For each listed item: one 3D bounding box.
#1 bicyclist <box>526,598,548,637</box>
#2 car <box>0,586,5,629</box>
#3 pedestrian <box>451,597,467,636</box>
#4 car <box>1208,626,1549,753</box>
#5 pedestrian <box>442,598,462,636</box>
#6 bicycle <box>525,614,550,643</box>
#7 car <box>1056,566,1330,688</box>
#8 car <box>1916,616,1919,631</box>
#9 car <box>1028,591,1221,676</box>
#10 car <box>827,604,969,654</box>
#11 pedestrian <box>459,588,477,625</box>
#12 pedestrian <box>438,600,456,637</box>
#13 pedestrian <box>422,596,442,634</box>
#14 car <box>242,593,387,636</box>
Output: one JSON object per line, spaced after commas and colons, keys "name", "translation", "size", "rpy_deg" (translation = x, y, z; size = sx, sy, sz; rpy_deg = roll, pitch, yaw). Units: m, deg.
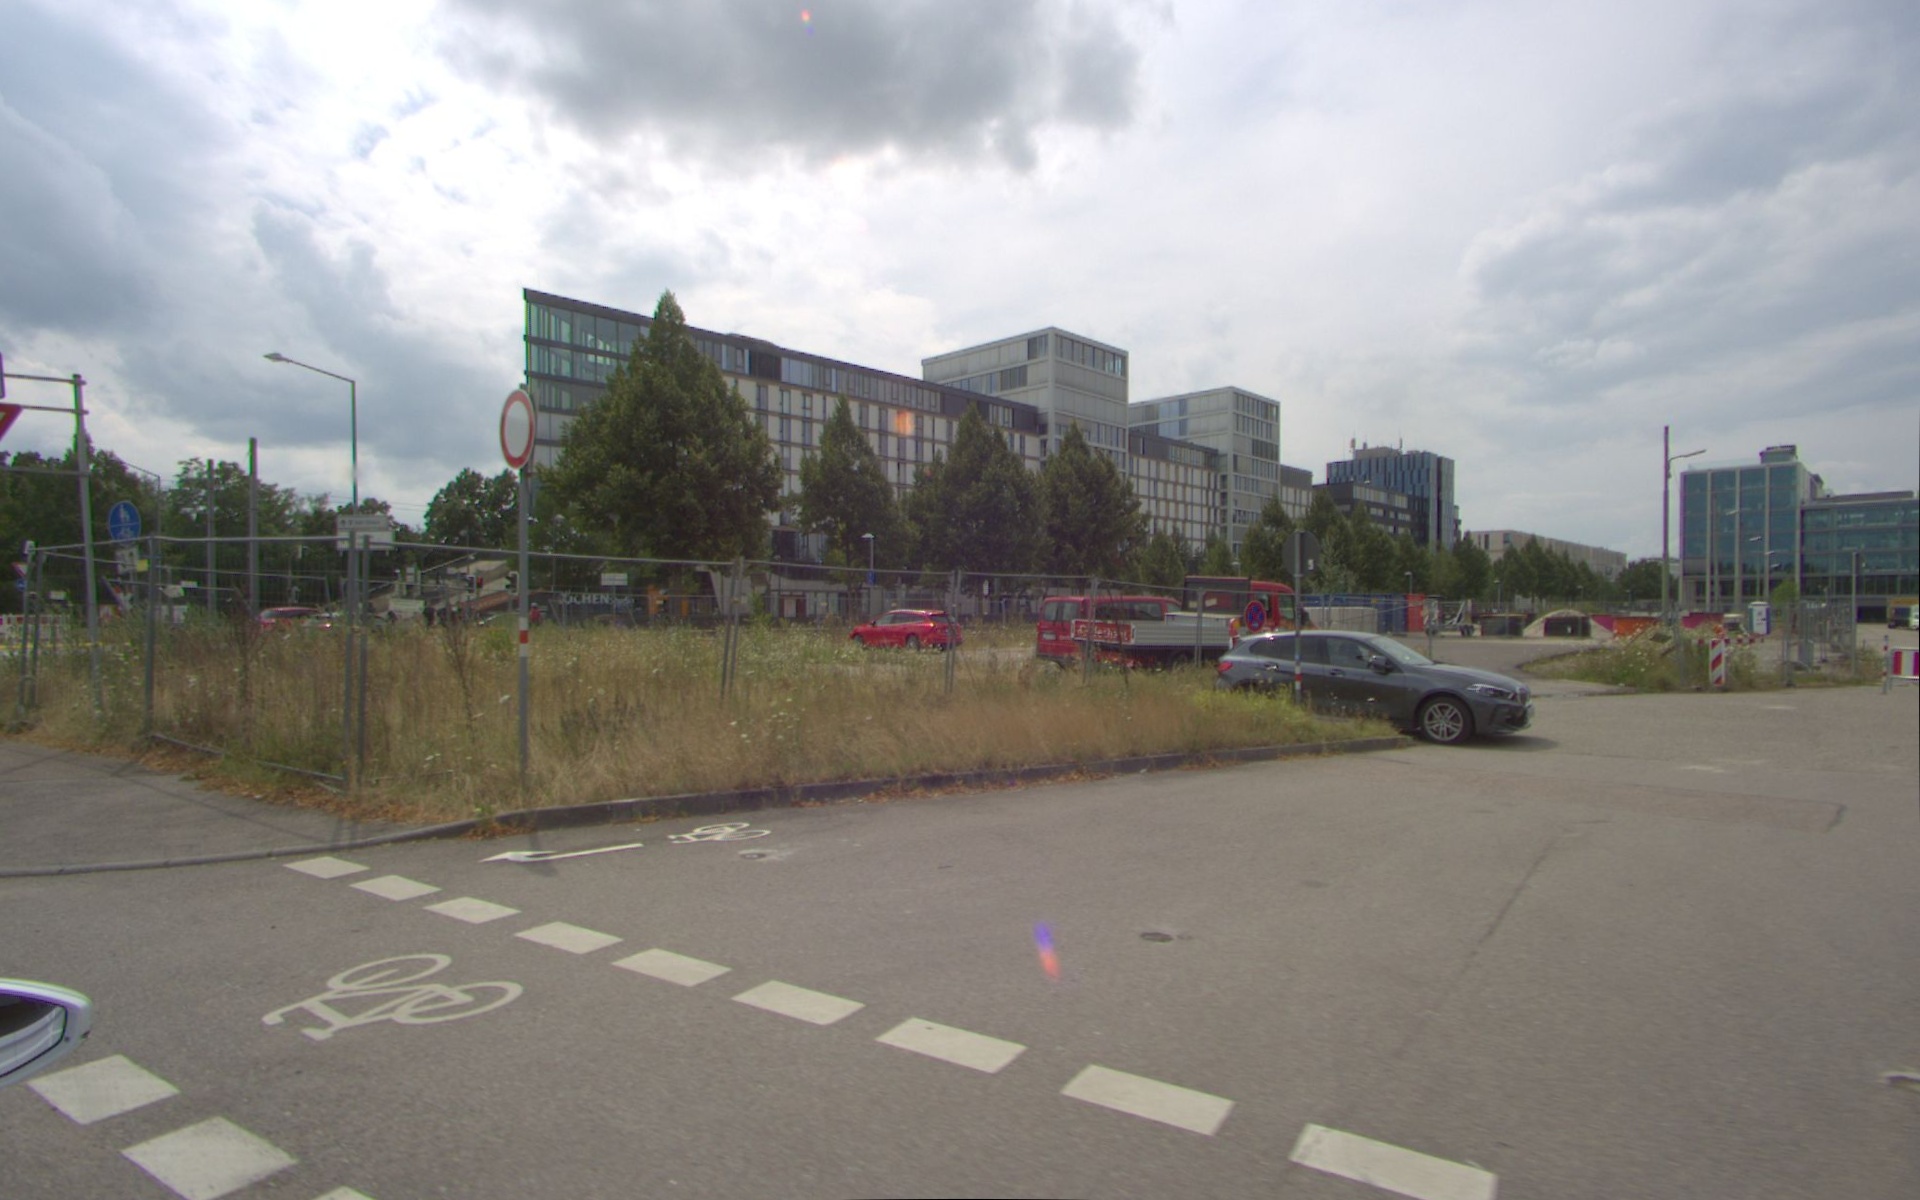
{"name": "bicyclist", "translation": [-18.093, 0.725, 42.872], "size": [0.777, 1.649, 1.047], "rpy_deg": [0, 0, -17]}
{"name": "car", "translation": [-41.399, 0.334, 41.276], "size": [3.942, 1.772, 1.990], "rpy_deg": [-1, -1, 32]}
{"name": "pedestrian", "translation": [-24.625, 0.803, 49.189], "size": [0.546, 1.886, 0.527], "rpy_deg": [1, 0, 39]}
{"name": "car", "translation": [5.892, 1.155, 14.343], "size": [4.206, 1.493, 1.754], "rpy_deg": [0, -1, 38]}
{"name": "pedestrian", "translation": [-24.399, 0.836, 48.129], "size": [0.546, 1.805, 0.685], "rpy_deg": [1, 0, 39]}
{"name": "bicycle", "translation": [-18.139, 1.222, 43.001], "size": [0.777, 1.183, 2.037], "rpy_deg": [0, 0, -17]}
{"name": "car", "translation": [5.407, 0.589, 22.771], "size": [6.456, 2.444, 2.304], "rpy_deg": [1, 0, -34]}
{"name": "car", "translation": [97.019, 2.344, 100.149], "size": [1.836, 1.555, 3.981], "rpy_deg": [0, -1, 41]}
{"name": "car", "translation": [4.279, 0.813, 25.696], "size": [4.924, 1.936, 1.922], "rpy_deg": [1, 2, -35]}
{"name": "car", "translation": [-2.231, 0.966, 35.016], "size": [5.075, 1.625, 1.777], "rpy_deg": [0, -1, 39]}
{"name": "pedestrian", "translation": [-23.965, 0.323, 48.795], "size": [0.546, 1.805, 0.576], "rpy_deg": [1, 0, 39]}
{"name": "pedestrian", "translation": [-24.909, 0.903, 48.609], "size": [0.546, 1.805, 0.629], "rpy_deg": [1, 0, 39]}
{"name": "pedestrian", "translation": [-25.301, 0.713, 47.967], "size": [0.546, 1.805, 0.685], "rpy_deg": [1, 0, 39]}
{"name": "car", "translation": [-26.433, 0.599, 41.228], "size": [1.967, 1.639, 4.739], "rpy_deg": [0, -1, 23]}
